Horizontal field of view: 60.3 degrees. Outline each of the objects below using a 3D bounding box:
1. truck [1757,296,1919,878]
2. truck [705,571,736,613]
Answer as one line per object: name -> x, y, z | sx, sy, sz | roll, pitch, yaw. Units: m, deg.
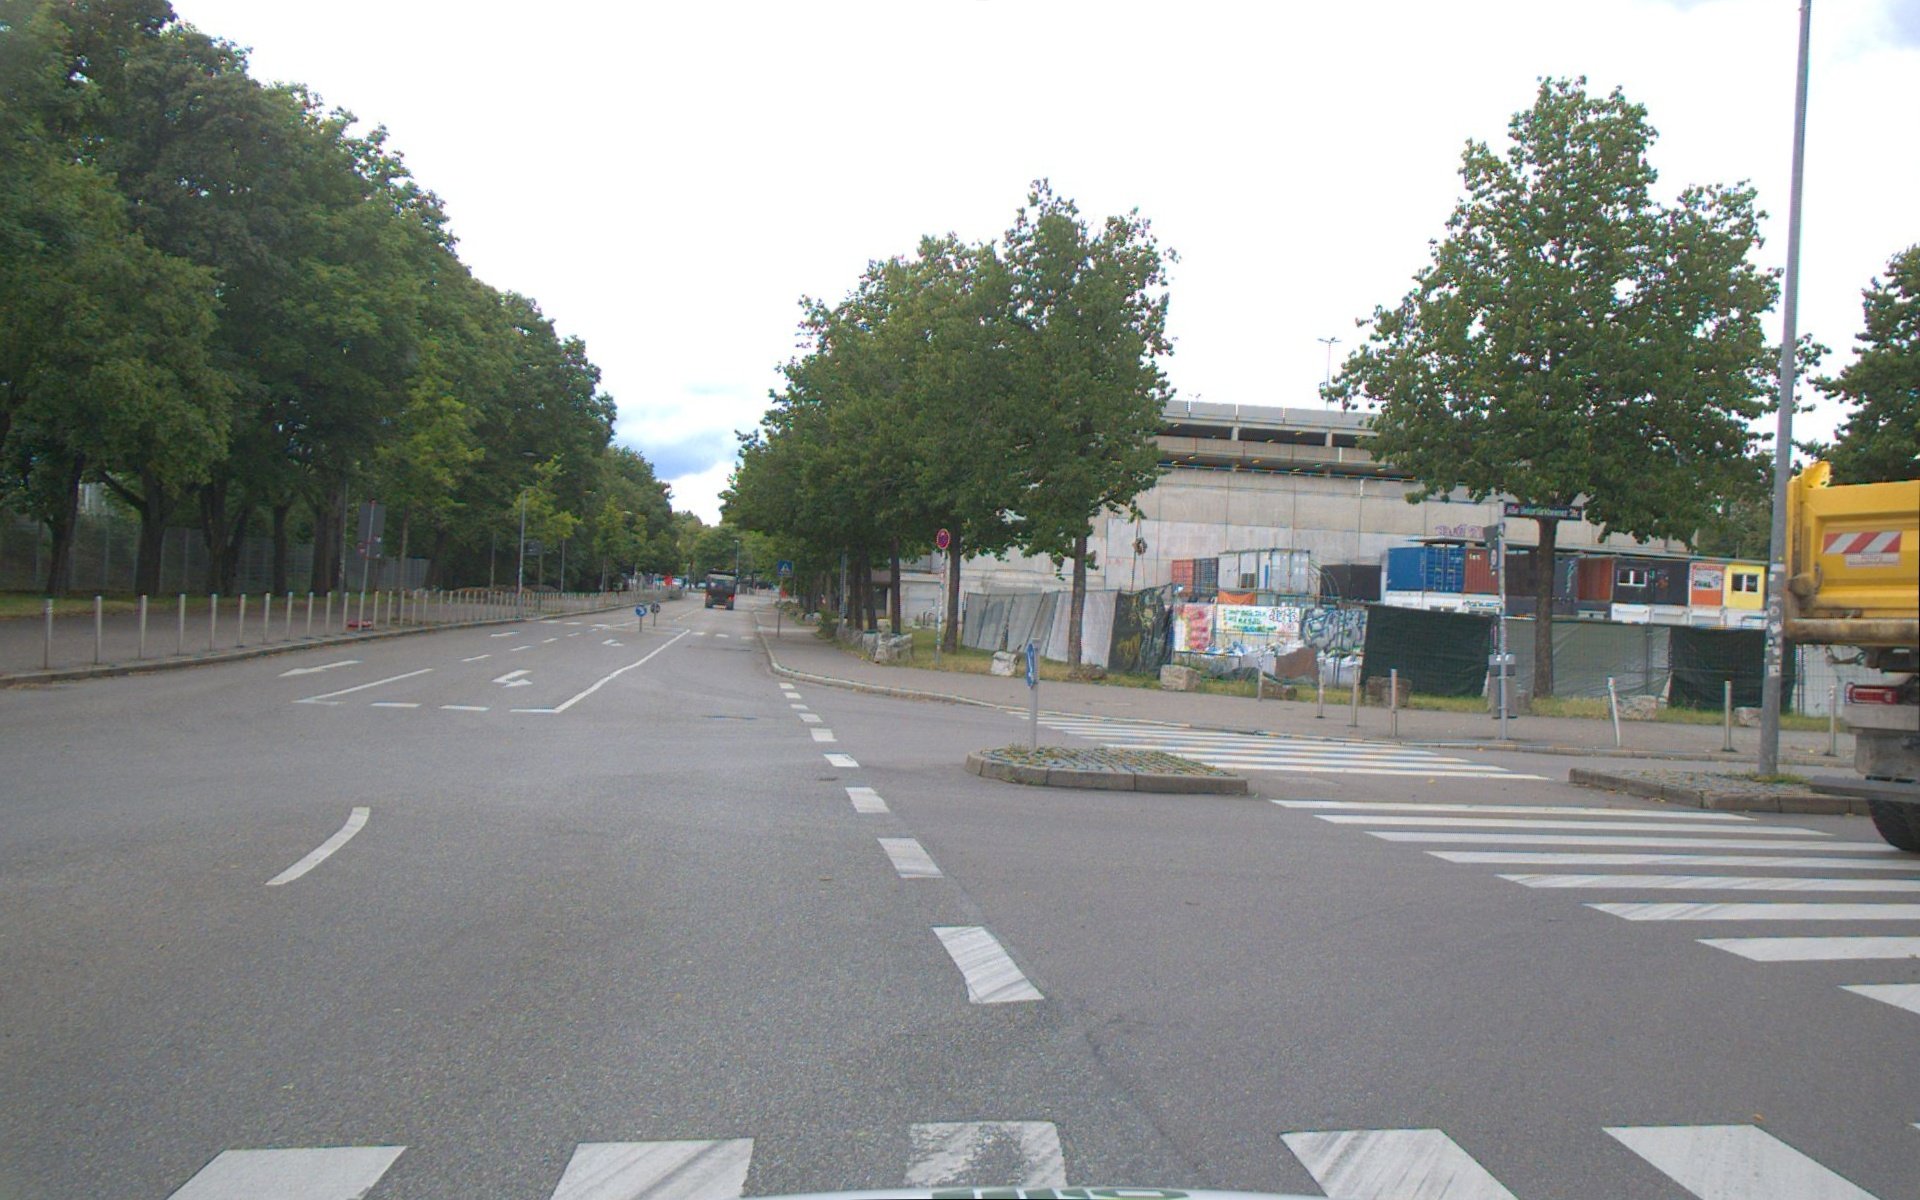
truck -> 9.702, 0.023, 12.369 | 7.766, 3.763, 2.741 | 2, -1, -29
truck -> -21.030, -0.654, 145.210 | 2.623, 3.621, 7.908 | 0, 0, -8
